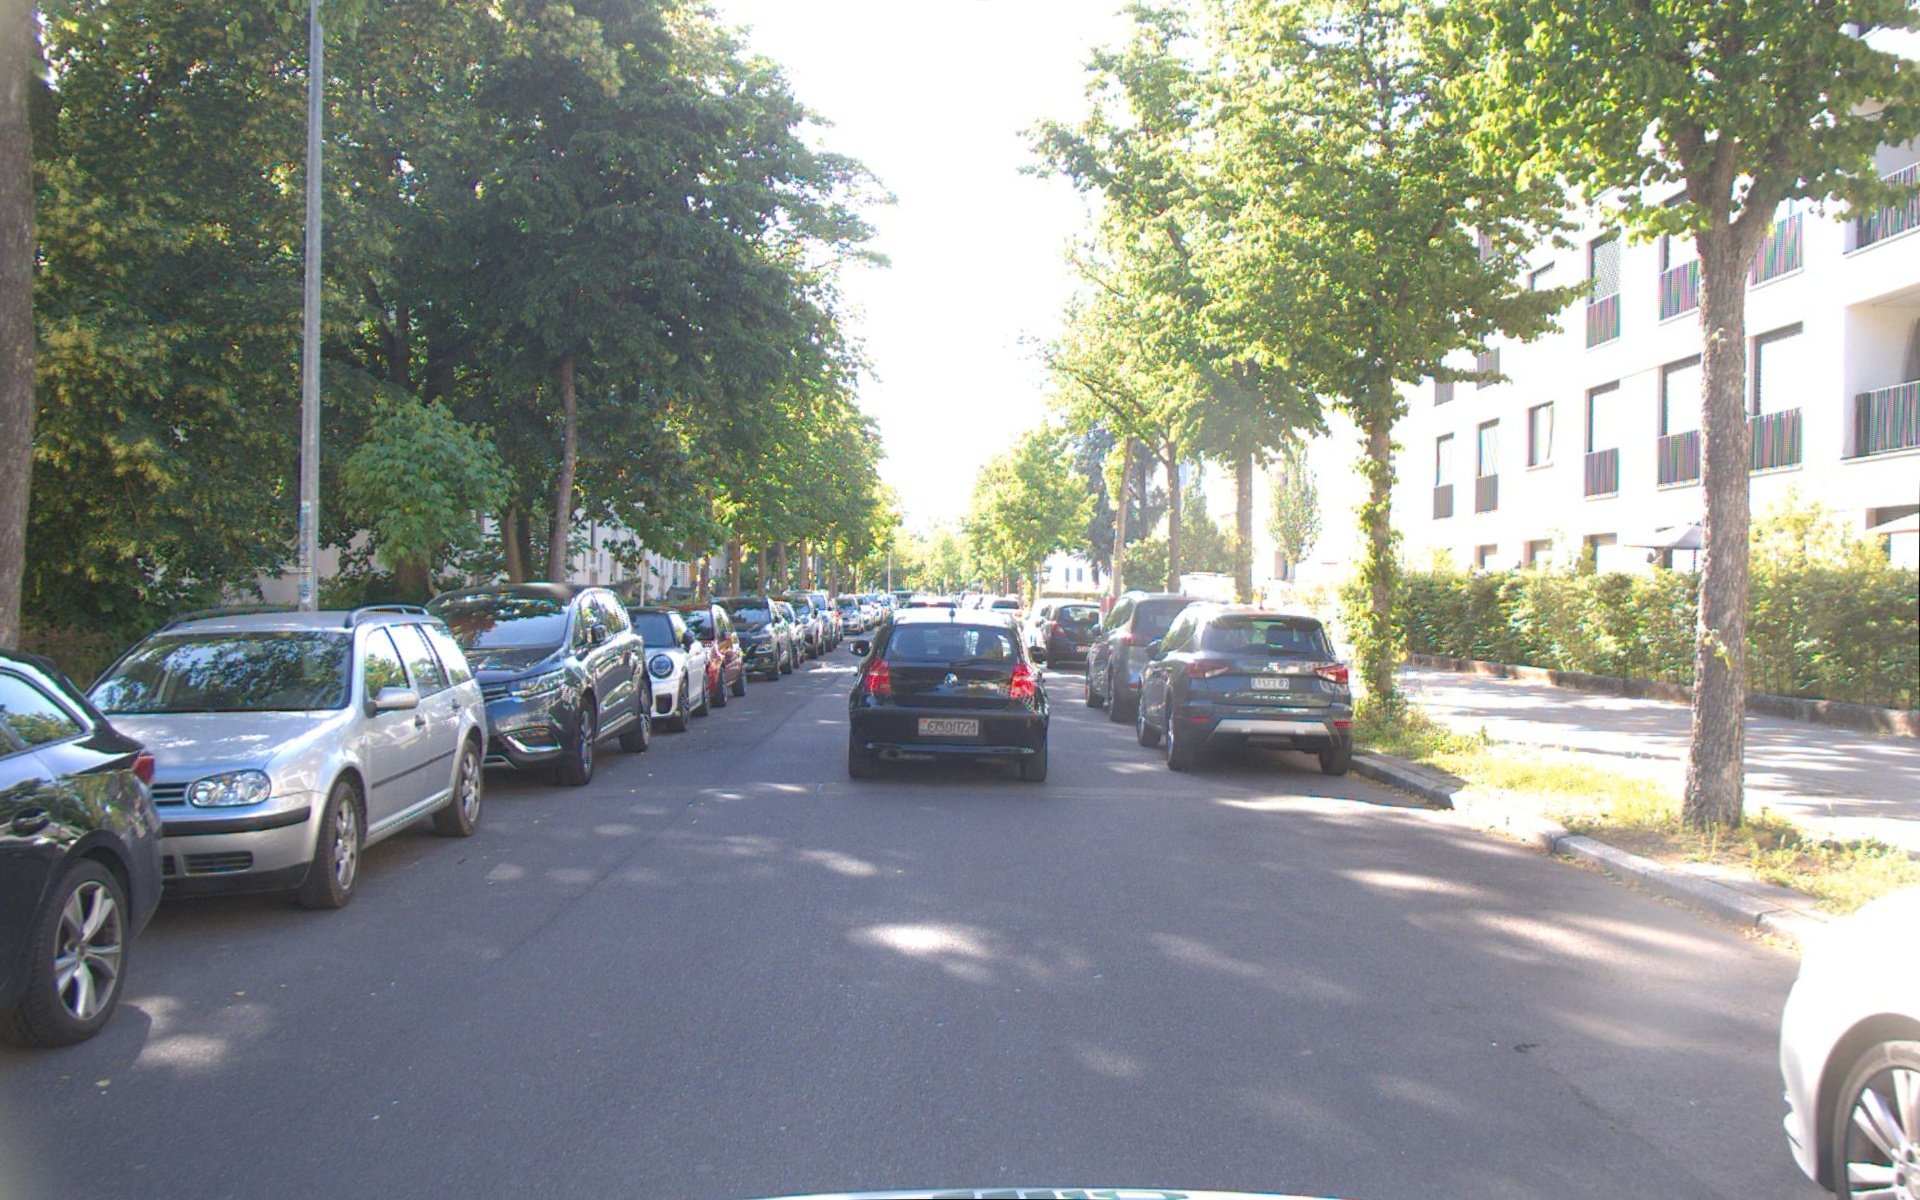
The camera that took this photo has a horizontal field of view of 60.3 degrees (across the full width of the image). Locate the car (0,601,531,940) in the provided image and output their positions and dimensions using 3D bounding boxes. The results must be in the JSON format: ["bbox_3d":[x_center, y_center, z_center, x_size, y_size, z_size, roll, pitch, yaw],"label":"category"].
[{"bbox_3d":[-3.881,0.778,9.787,1.672,1.506,4.487,0,0,-2],"label":"car"}]

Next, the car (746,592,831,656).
[{"bbox_3d":[-4.387,0.581,42.815,1.733,1.558,4.419,0,0,0],"label":"car"}]

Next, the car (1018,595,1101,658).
[{"bbox_3d":[2.513,0.648,42.624,1.698,1.513,4.007,1,0,-3],"label":"car"}]

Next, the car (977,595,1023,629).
[{"bbox_3d":[1.861,0.537,78.325,1.785,1.495,4.907,2,0,-2],"label":"car"}]

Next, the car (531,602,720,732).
[{"bbox_3d":[-3.999,0.742,20.366,1.621,1.397,4.187,0,0,-2],"label":"car"}]

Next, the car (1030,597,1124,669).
[{"bbox_3d":[2.633,0.715,38.056,1.636,1.476,4.177,2,0,-2],"label":"car"}]

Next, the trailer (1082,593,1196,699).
[{"bbox_3d":[2.950,0.718,27.763,1.542,1.606,3.192,3,0,1],"label":"trailer"}]

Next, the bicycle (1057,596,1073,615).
[{"bbox_3d":[7.362,0.386,115.967,0.822,1.279,2.229,1,0,-5],"label":"bicycle"}]

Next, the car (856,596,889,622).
[{"bbox_3d":[-5.122,0.520,97.575,1.743,1.403,4.261,-2,0,-1],"label":"car"}]

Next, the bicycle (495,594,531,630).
[{"bbox_3d":[-15.208,0.393,56.294,0.671,1.222,1.912,0,0,1],"label":"bicycle"}]

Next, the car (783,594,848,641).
[{"bbox_3d":[-4.703,0.547,54.305,1.818,1.495,4.181,0,0,-1],"label":"car"}]

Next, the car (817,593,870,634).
[{"bbox_3d":[-4.615,0.516,65.621,2.002,1.551,4.602,0,0,-4],"label":"car"}]

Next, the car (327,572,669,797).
[{"bbox_3d":[-3.947,0.629,15.089,1.804,1.685,5.086,0,0,-2],"label":"car"}]

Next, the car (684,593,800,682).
[{"bbox_3d":[-4.165,0.666,32.177,1.671,1.604,4.481,0,0,0],"label":"car"}]

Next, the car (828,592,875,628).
[{"bbox_3d":[-4.827,0.427,73.603,2.023,1.551,4.718,0,0,-4],"label":"car"}]

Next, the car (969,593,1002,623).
[{"bbox_3d":[1.504,0.453,98.616,1.886,1.680,5.095,2,0,0],"label":"car"}]

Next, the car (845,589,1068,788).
[{"bbox_3d":[-0.100,0.685,14.989,1.747,1.550,3.998,0,0,-2],"label":"car"}]

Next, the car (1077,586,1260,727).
[{"bbox_3d":[2.771,0.695,22.988,1.756,1.672,4.817,2,0,-2],"label":"car"}]

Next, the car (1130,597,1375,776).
[{"bbox_3d":[2.811,0.763,16.811,1.683,1.543,4.344,1,0,0],"label":"car"}]

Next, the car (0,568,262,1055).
[{"bbox_3d":[-3.786,0.650,4.765,1.757,1.477,4.488,0,0,-2],"label":"car"}]

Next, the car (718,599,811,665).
[{"bbox_3d":[-4.352,0.671,37.386,1.749,1.376,4.479,0,0,-3],"label":"car"}]

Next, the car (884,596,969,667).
[{"bbox_3d":[-0.848,0.725,39.299,1.857,1.551,4.964,1,-1,-2],"label":"car"}]

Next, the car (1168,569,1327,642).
[{"bbox_3d":[9.699,0.176,55.815,4.975,2.346,2.217,0,0,-25],"label":"car"}]

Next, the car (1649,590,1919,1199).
[{"bbox_3d":[3.021,0.775,2.402,1.746,1.544,4.682,1,0,-5],"label":"car"}]

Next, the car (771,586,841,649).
[{"bbox_3d":[-4.430,0.470,48.051,1.732,1.717,4.812,0,0,-2],"label":"car"}]

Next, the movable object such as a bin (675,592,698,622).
[{"bbox_3d":[-12.417,0.301,75.121,0.912,1.347,1.377,0,0,-7],"label":"movable object such as a bin"}]

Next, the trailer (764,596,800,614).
[{"bbox_3d":[-10.737,0.322,99.968,1.752,1.052,3.281,0,0,1],"label":"trailer"}]

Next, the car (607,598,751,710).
[{"bbox_3d":[-4.131,0.741,24.842,1.621,1.531,4.067,0,0,-2],"label":"car"}]

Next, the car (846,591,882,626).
[{"bbox_3d":[-4.921,0.415,85.352,1.694,1.646,4.364,-3,0,-2],"label":"car"}]
